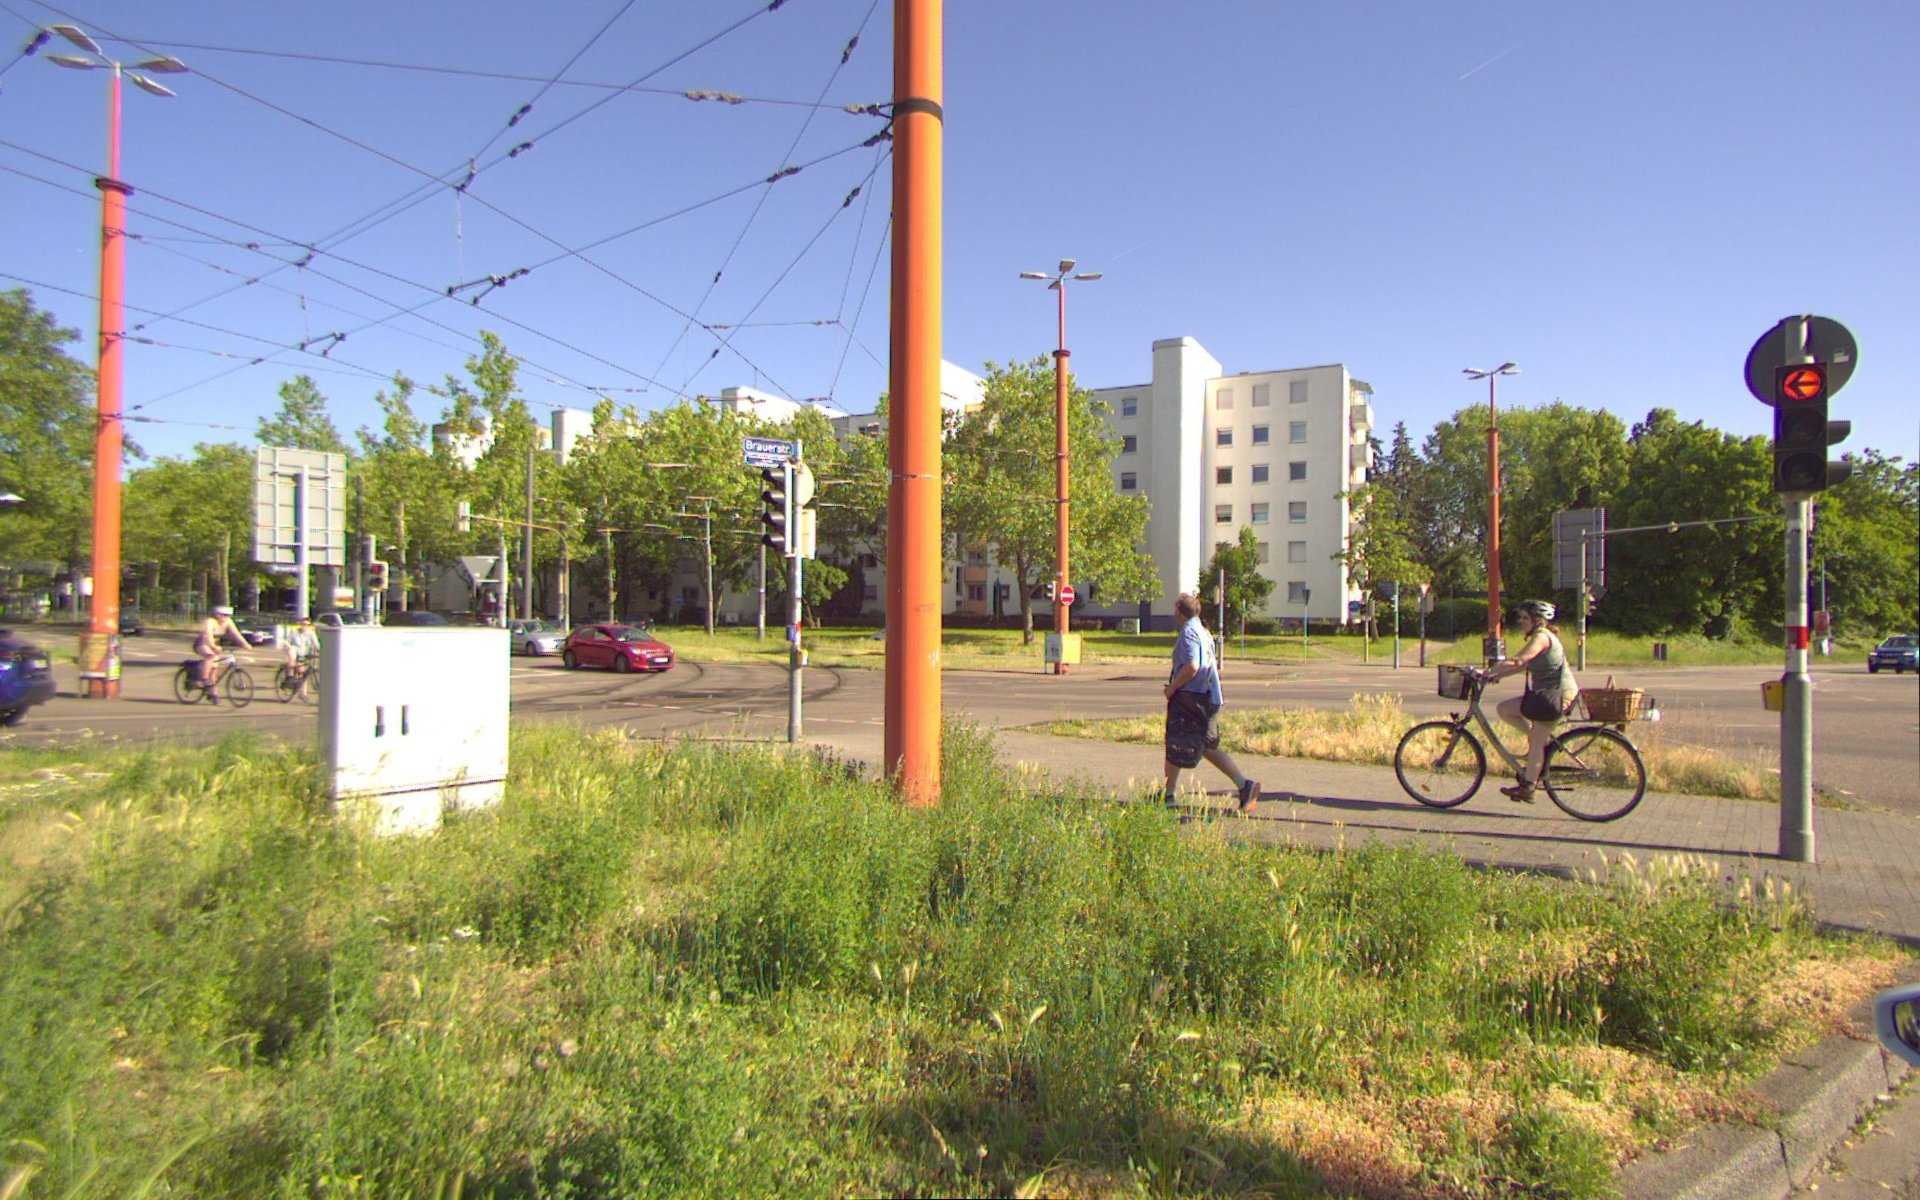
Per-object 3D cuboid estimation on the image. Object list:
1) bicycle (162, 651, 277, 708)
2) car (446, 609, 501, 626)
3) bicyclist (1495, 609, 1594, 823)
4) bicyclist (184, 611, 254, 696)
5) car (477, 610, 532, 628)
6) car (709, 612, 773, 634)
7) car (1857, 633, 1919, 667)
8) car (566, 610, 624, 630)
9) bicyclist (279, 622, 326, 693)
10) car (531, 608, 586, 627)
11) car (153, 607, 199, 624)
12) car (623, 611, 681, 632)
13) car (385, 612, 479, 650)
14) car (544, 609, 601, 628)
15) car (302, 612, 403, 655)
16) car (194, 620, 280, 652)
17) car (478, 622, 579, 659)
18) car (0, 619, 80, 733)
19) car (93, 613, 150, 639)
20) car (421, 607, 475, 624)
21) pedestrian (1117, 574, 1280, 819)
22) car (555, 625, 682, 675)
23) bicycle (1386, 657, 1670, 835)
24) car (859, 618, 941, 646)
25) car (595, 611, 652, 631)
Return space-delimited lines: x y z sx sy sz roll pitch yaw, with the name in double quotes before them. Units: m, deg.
"bicycle" -13.967 1.497 18.982 1.612 0.974 0.685 2 -1 -1
"car" -41.425 1.487 85.629 3.935 1.428 1.794 1 -1 -17
"bicyclist" 4.654 0.878 7.983 0.651 1.605 0.671 0 -1 33
"bicyclist" -13.965 1.005 18.942 0.752 1.565 0.732 1 -1 -1
"car" -38.022 1.569 83.888 3.935 1.428 1.794 1 -1 -17
"car" -14.533 1.553 66.846 1.770 1.428 3.987 0 -1 35
"car" 37.165 1.965 39.623 3.571 1.260 1.730 1 -1 -31
"car" -27.568 1.488 75.924 3.934 1.428 1.794 1 -1 -16
"bicyclist" -13.084 1.136 20.002 0.616 1.399 0.443 1 -1 -1
"car" -31.928 1.370 79.976 3.935 1.428 1.794 1 -1 -17
"car" -93.978 1.881 120.461 1.969 2.040 3.984 0 -1 38
"car" -22.246 1.549 72.649 3.934 1.428 1.794 1 -1 -16
"car" -22.963 1.340 43.649 4.190 1.566 1.853 0 -1 33
"car" -30.067 1.420 78.078 3.934 1.428 1.794 1 -1 -16
"car" -25.062 1.352 41.437 4.178 1.658 1.825 0 -1 31
"car" -33.642 1.652 46.689 4.288 1.368 1.761 0 -2 33
"car" -16.930 1.548 39.358 3.926 1.363 1.486 0 -1 28
"car" -15.425 1.056 14.248 4.058 1.595 1.984 1 -1 -30
"car" -48.265 1.481 57.804 4.296 1.368 1.758 0 -1 39
"car" -44.779 1.389 87.899 3.935 1.428 1.794 1 -1 -17
"pedestrian" 1.943 0.729 8.152 0.973 1.817 0.951 0 -1 38
"car" -10.900 1.552 32.025 3.994 1.454 1.682 0 -1 32
"bicycle" 4.513 1.100 8.069 1.915 1.210 0.690 0 -1 33
"car" -3.182 1.672 53.395 3.922 1.416 1.756 0 -1 21
"car" -24.986 1.558 74.700 3.934 1.428 1.794 1 -1 -16
